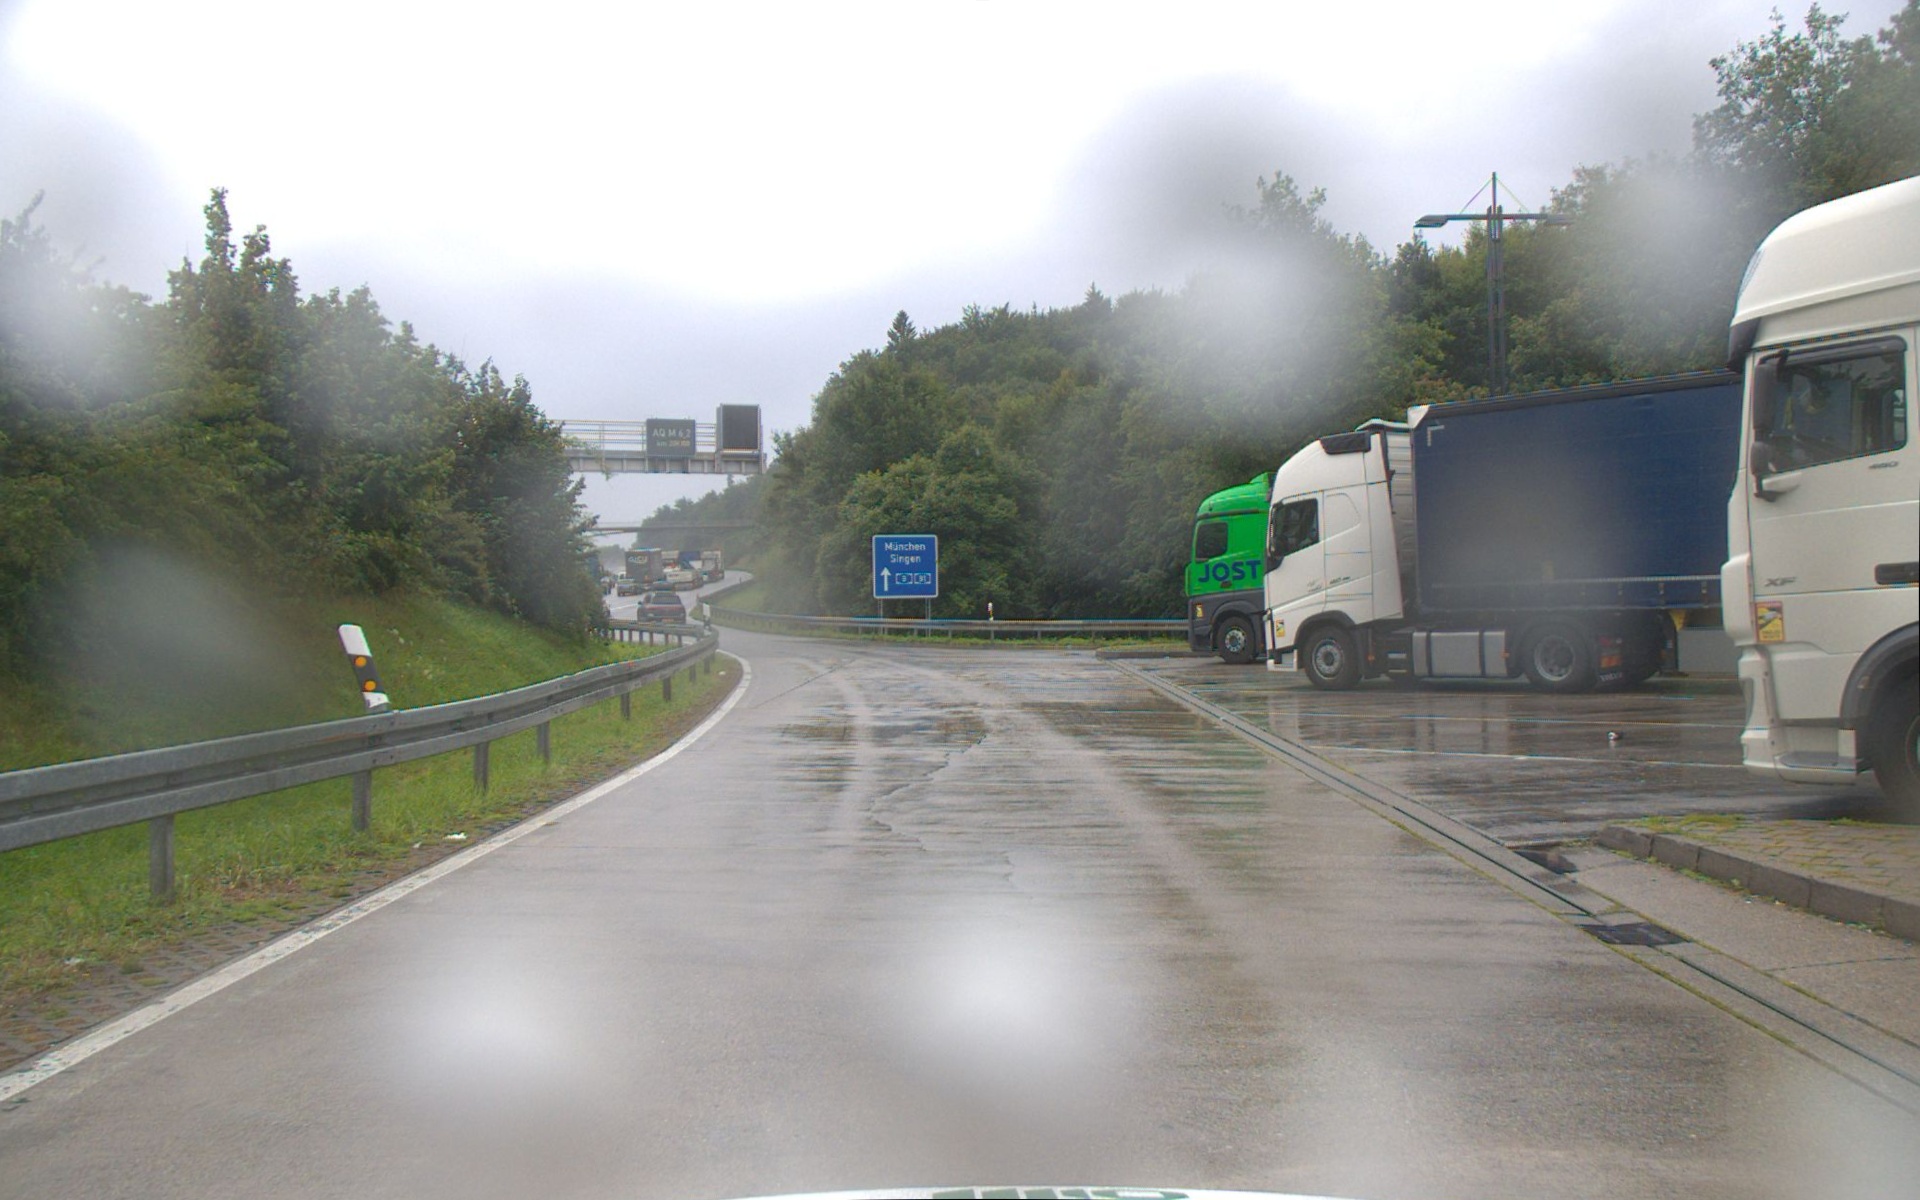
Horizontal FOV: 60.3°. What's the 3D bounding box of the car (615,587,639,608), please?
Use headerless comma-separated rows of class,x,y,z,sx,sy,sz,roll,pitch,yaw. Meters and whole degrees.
car,-30.528,-0.213,151.659,1.763,1.937,3.995,1,0,-6

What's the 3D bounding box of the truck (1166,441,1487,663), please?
truck,7.599,-0.880,34.745,5.897,4.222,2.807,-2,0,45

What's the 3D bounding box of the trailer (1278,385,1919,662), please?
trailer,12.398,-1.094,29.899,13.732,4.222,2.807,-2,0,45

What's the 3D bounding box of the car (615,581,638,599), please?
car,-37.130,-1.133,184.383,1.954,1.898,3.997,1,0,-4

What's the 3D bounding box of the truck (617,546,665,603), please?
truck,-32.661,-2.499,169.697,3.681,5.595,10.162,1,0,-5

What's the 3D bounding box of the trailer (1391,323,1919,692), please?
trailer,12.063,-1.100,19.969,2.805,4.244,13.768,-2,0,-44

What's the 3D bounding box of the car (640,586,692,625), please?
car,-13.287,0.245,74.576,1.960,1.665,3.984,1,0,-15

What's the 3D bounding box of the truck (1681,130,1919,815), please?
truck,7.513,-0.804,9.670,2.811,3.981,5.321,-2,0,-45

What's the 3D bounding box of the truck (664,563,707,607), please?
truck,-27.942,-1.631,168.870,3.532,4.176,11.544,-2,2,-7

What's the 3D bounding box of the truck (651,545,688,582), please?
truck,-36.040,-4.498,205.399,3.507,4.167,10.868,-2,0,-5

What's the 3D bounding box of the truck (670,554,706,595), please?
truck,-30.354,-2.807,184.856,3.440,4.342,10.587,1,0,-7

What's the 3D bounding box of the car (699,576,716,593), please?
car,-29.976,-1.870,196.170,1.763,1.937,3.995,-2,0,-6

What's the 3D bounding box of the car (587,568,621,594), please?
car,-43.173,-2.287,200.922,3.183,3.055,6.766,1,0,-5

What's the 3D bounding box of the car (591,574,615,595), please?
car,-34.684,-1.473,160.689,1.763,1.937,3.996,-2,0,-5

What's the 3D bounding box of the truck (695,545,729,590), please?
truck,-34.123,-4.377,228.106,4.254,5.864,9.715,1,0,-7

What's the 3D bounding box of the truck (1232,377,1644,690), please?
truck,7.148,-0.861,25.144,2.806,4.218,5.217,-2,0,-44

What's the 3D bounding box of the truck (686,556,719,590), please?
truck,-32.605,-3.317,209.631,3.684,4.040,11.041,1,0,-7
